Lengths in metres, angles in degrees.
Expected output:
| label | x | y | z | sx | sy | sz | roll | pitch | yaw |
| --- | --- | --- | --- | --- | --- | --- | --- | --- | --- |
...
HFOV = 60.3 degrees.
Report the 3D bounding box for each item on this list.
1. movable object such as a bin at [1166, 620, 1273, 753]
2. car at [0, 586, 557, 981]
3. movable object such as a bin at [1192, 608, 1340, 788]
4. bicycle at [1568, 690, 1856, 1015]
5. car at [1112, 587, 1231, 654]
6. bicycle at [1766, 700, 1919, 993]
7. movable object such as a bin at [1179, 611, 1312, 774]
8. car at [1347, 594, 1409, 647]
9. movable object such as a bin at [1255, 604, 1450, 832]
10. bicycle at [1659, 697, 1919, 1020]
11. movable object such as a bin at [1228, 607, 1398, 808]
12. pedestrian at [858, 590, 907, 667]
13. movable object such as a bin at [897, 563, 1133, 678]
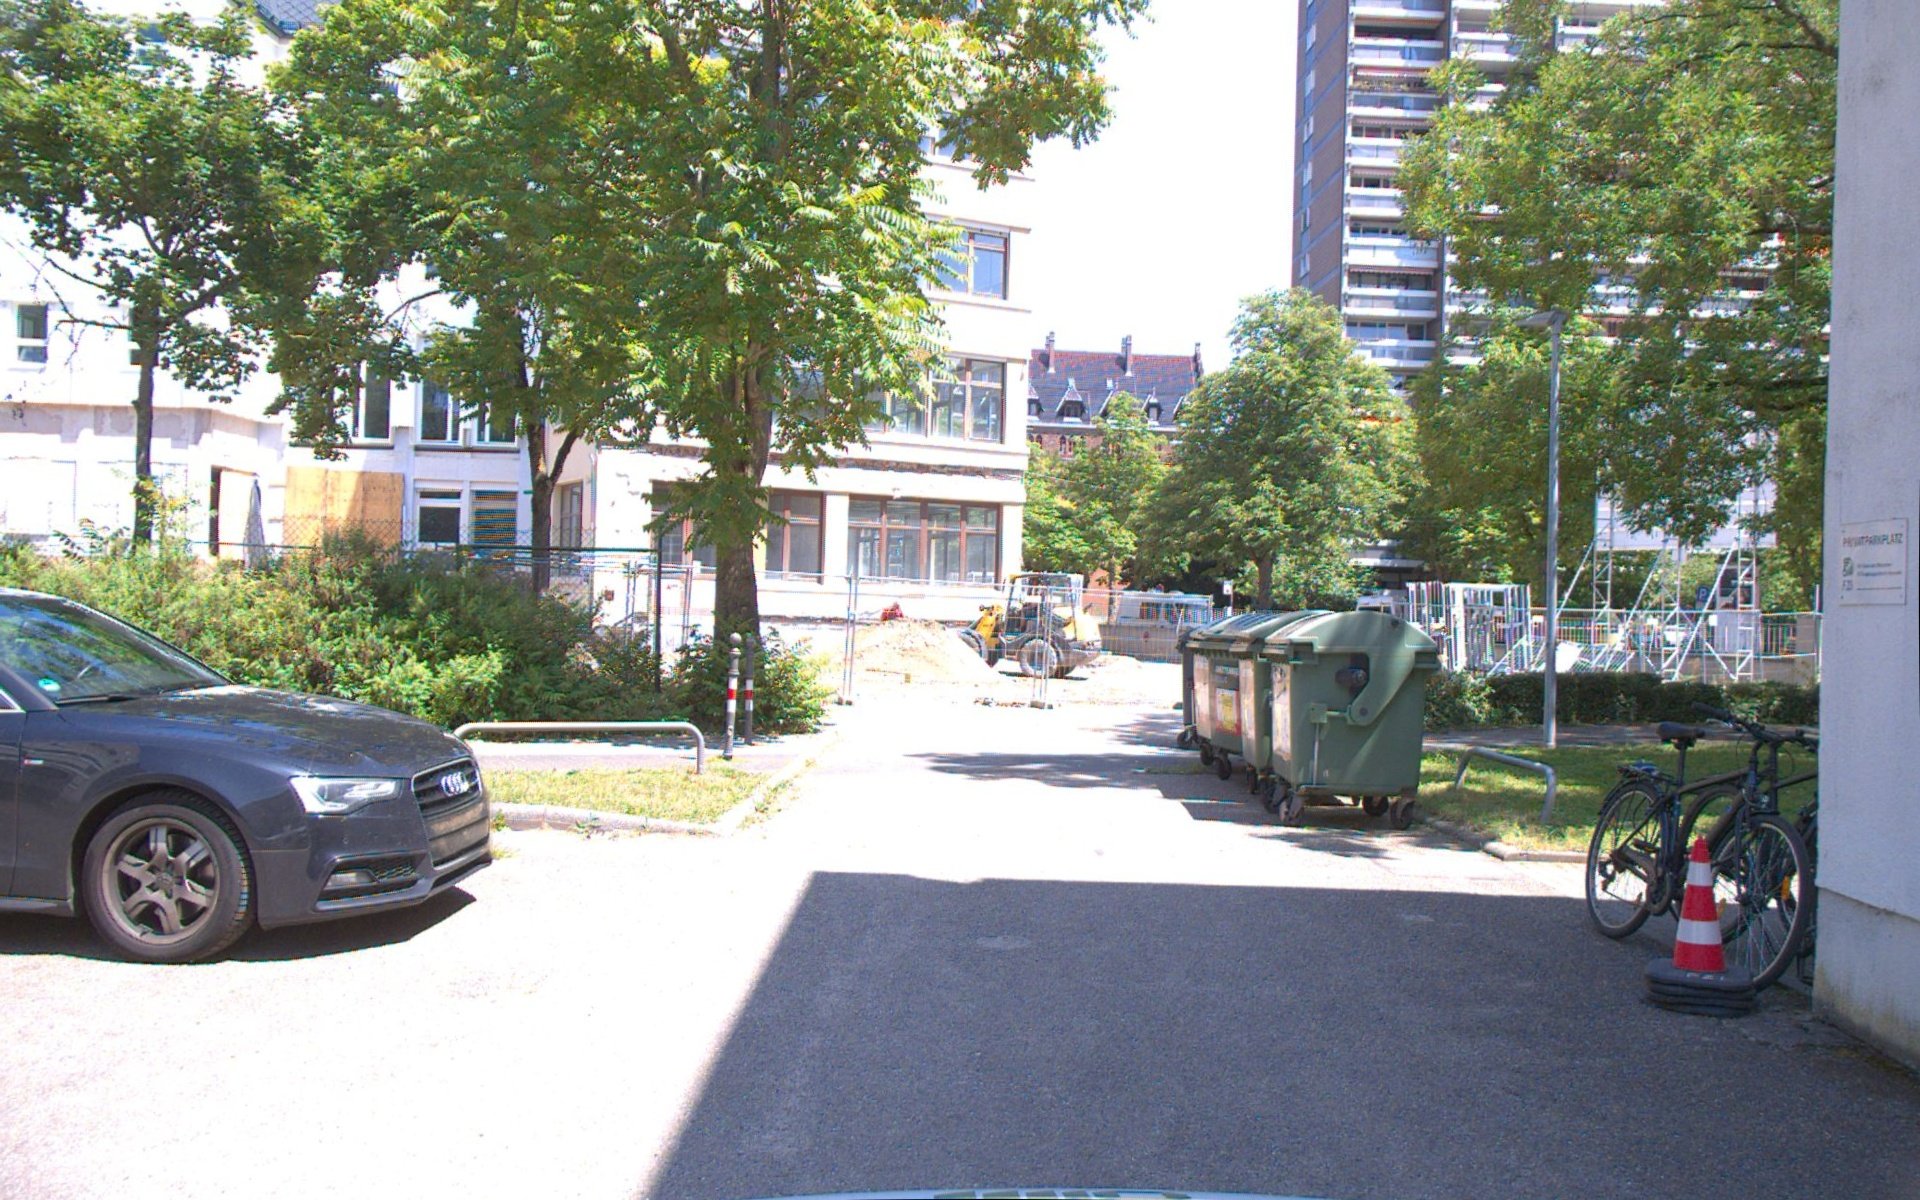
| label | x | y | z | sx | sy | sz | roll | pitch | yaw |
| --- | --- | --- | --- | --- | --- | --- | --- | --- | --- |
| movable object such as a bin | 3.045 | 0.999 | 19.539 | 1.053 | 1.483 | 1.377 | 1 | -1 | 1 |
| car | -4.201 | 0.646 | 7.148 | 4.337 | 1.404 | 2.024 | 2 | -1 | 2 |
| movable object such as a bin | 2.672 | 0.833 | 14.613 | 1.053 | 1.483 | 1.377 | 1 | -1 | 1 |
| bicycle | 3.134 | 0.989 | 7.067 | 0.396 | 1.121 | 1.826 | 1 | -1 | 0 |
| car | 8.211 | 0.776 | 64.785 | 1.971 | 2.459 | 5.194 | 2 | -1 | -28 |
| bicycle | 4.098 | 1.039 | 7.086 | 0.396 | 1.121 | 1.826 | 1 | -1 | 0 |
| movable object such as a bin | 2.739 | 0.869 | 16.034 | 1.053 | 1.483 | 1.377 | 1 | -1 | 1 |
| car | 19.429 | 0.976 | 76.719 | 2.140 | 2.298 | 4.868 | 1 | -1 | 22 |
| movable object such as a bin | 2.738 | 0.796 | 11.697 | 1.053 | 1.483 | 1.377 | 1 | -1 | 1 |
| bicycle | 3.593 | 1.026 | 7.119 | 0.396 | 1.121 | 1.826 | 1 | -1 | 0 |
| movable object such as a bin | 2.769 | 0.816 | 13.140 | 1.053 | 1.483 | 1.377 | 1 | -1 | 1 |
| pedestrian | -1.935 | 0.719 | 41.388 | 0.895 | 1.879 | 0.986 | 1 | -1 | 19 |
| movable object such as a bin | 1.350 | 0.487 | 41.125 | 5.302 | 2.507 | 2.364 | 3 | 0 | 29 |
